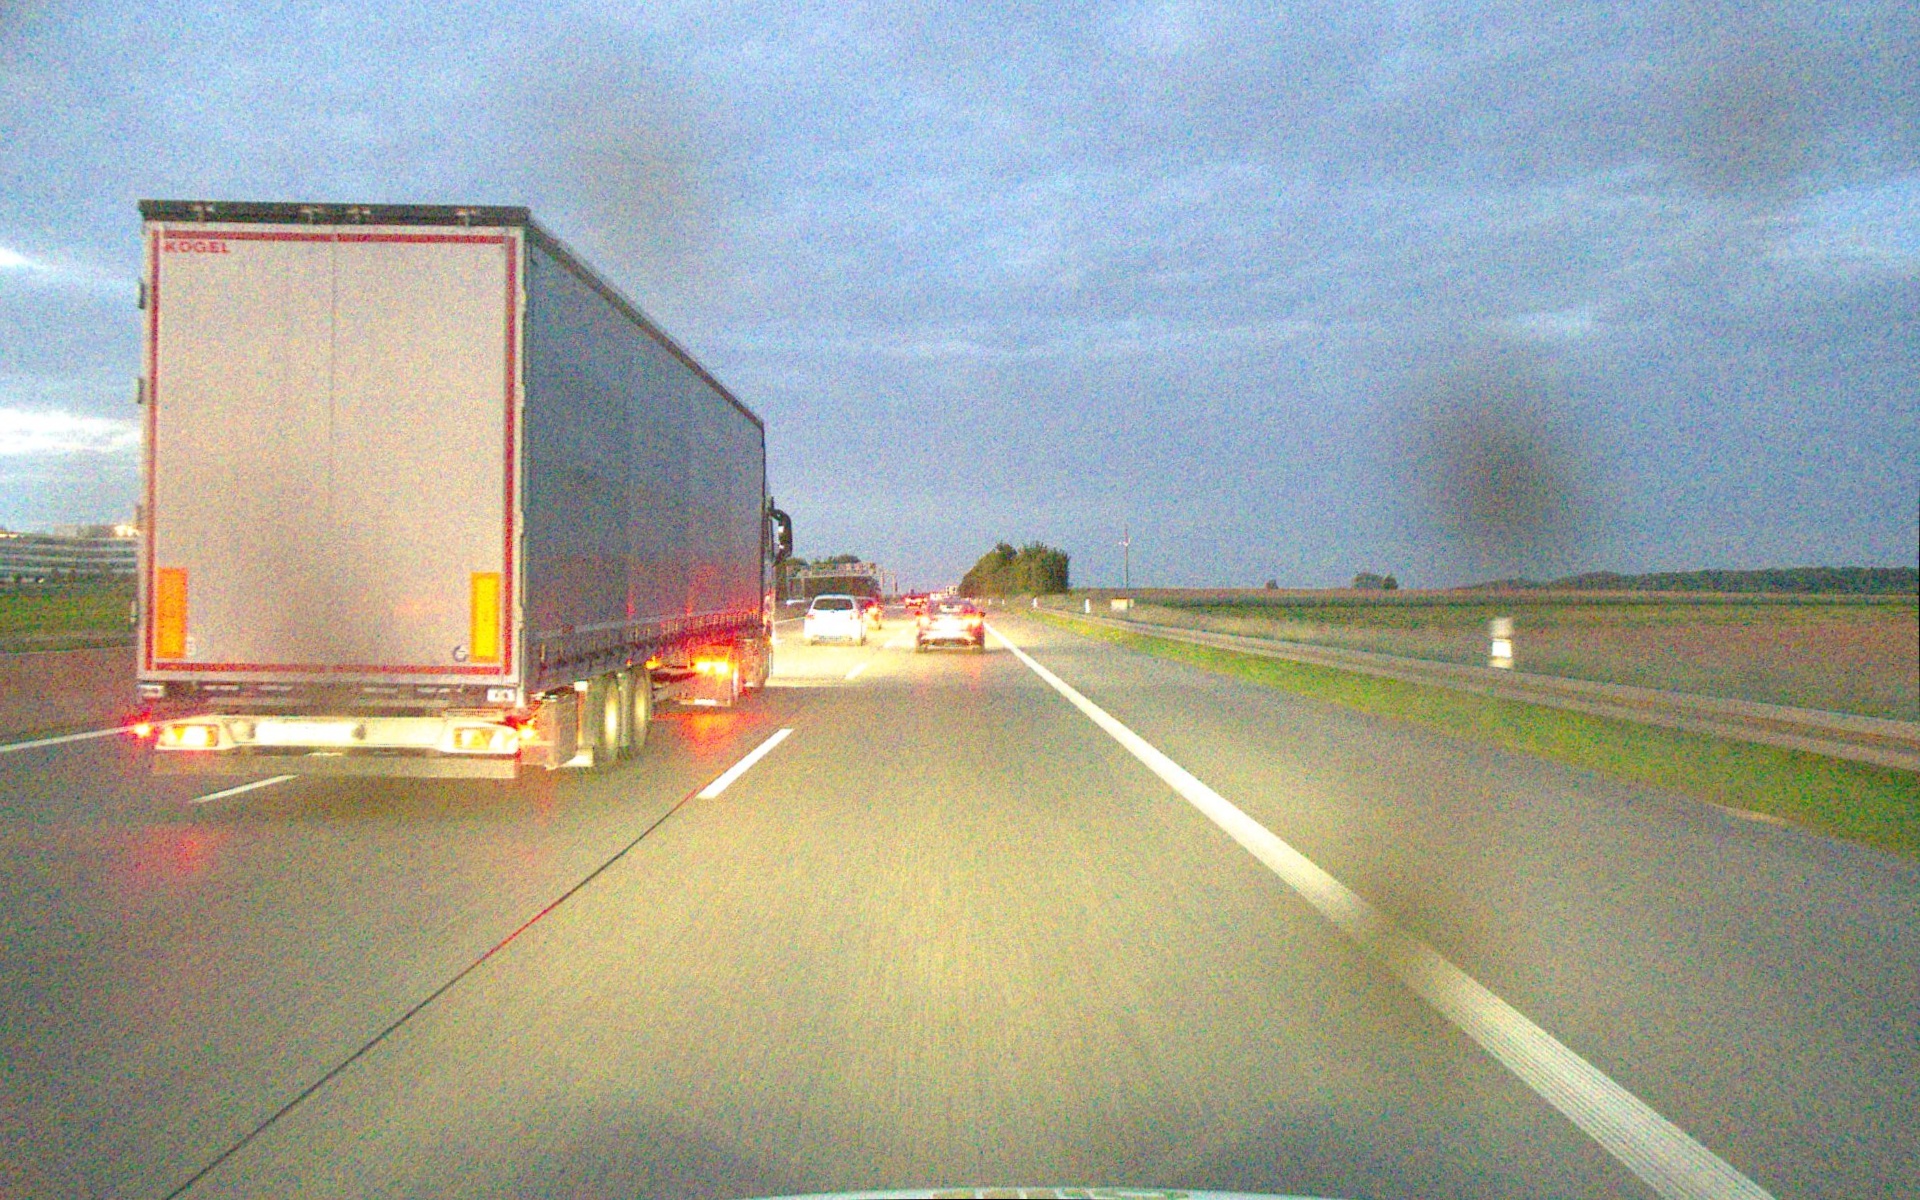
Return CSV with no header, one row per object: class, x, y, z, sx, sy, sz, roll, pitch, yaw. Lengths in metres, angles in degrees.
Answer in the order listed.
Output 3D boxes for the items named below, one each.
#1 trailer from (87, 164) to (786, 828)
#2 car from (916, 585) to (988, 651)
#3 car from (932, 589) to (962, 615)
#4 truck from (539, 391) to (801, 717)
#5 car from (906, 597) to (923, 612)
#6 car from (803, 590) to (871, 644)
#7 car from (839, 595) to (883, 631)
trailer,-4.048,-0.617,17.632,2.736,4.157,14.525,0,0,0
car,-0.237,0.476,45.012,1.842,1.672,3.999,1,0,-1
car,-0.851,0.162,104.825,1.842,1.579,3.999,1,0,-1
truck,-4.009,-0.572,24.260,2.720,4.164,6.103,0,0,0
car,-5.083,0.490,183.736,1.842,1.579,3.999,1,0,-1
car,-3.723,0.512,50.720,1.708,1.551,4.414,1,0,0
car,-4.322,0.549,72.564,1.688,1.497,4.725,1,0,-1
